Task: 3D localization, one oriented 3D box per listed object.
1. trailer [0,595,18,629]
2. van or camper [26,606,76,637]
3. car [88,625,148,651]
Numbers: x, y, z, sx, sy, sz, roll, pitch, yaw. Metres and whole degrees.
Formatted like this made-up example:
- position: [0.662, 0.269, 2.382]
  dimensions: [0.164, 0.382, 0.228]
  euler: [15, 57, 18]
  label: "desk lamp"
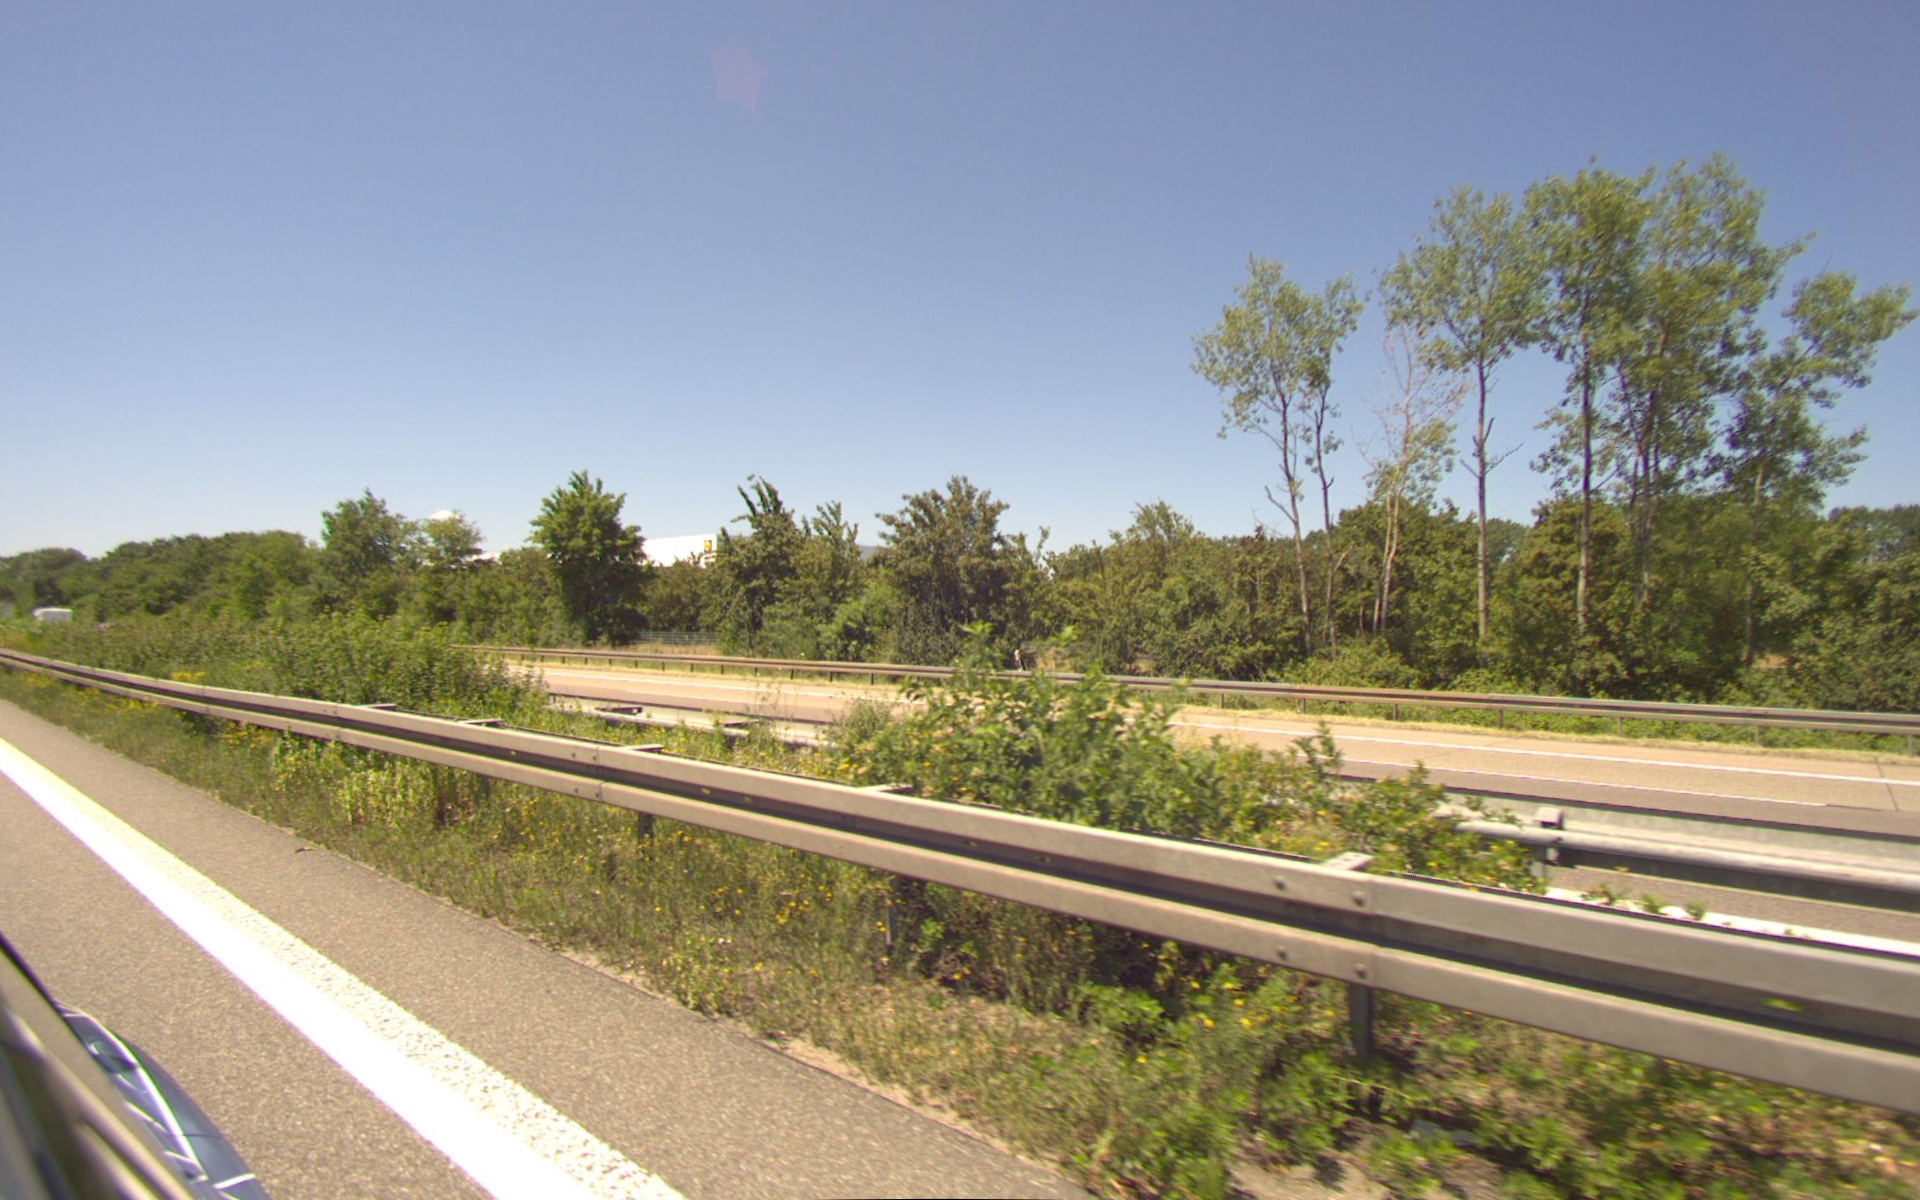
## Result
- position: [-127.059, 1.471, 133.117]
  dimensions: [13.728, 4.243, 2.946]
  euler: [1, -2, 41]
  label: "trailer"
- position: [-93.190, 2.191, 103.728]
  dimensions: [7.443, 2.992, 2.820]
  euler: [-1, -4, 41]
  label: "van or camper"
- position: [-51.179, 2.293, 61.524]
  dimensions: [3.856, 1.564, 1.802]
  euler: [-1, -3, 35]
  label: "car"
